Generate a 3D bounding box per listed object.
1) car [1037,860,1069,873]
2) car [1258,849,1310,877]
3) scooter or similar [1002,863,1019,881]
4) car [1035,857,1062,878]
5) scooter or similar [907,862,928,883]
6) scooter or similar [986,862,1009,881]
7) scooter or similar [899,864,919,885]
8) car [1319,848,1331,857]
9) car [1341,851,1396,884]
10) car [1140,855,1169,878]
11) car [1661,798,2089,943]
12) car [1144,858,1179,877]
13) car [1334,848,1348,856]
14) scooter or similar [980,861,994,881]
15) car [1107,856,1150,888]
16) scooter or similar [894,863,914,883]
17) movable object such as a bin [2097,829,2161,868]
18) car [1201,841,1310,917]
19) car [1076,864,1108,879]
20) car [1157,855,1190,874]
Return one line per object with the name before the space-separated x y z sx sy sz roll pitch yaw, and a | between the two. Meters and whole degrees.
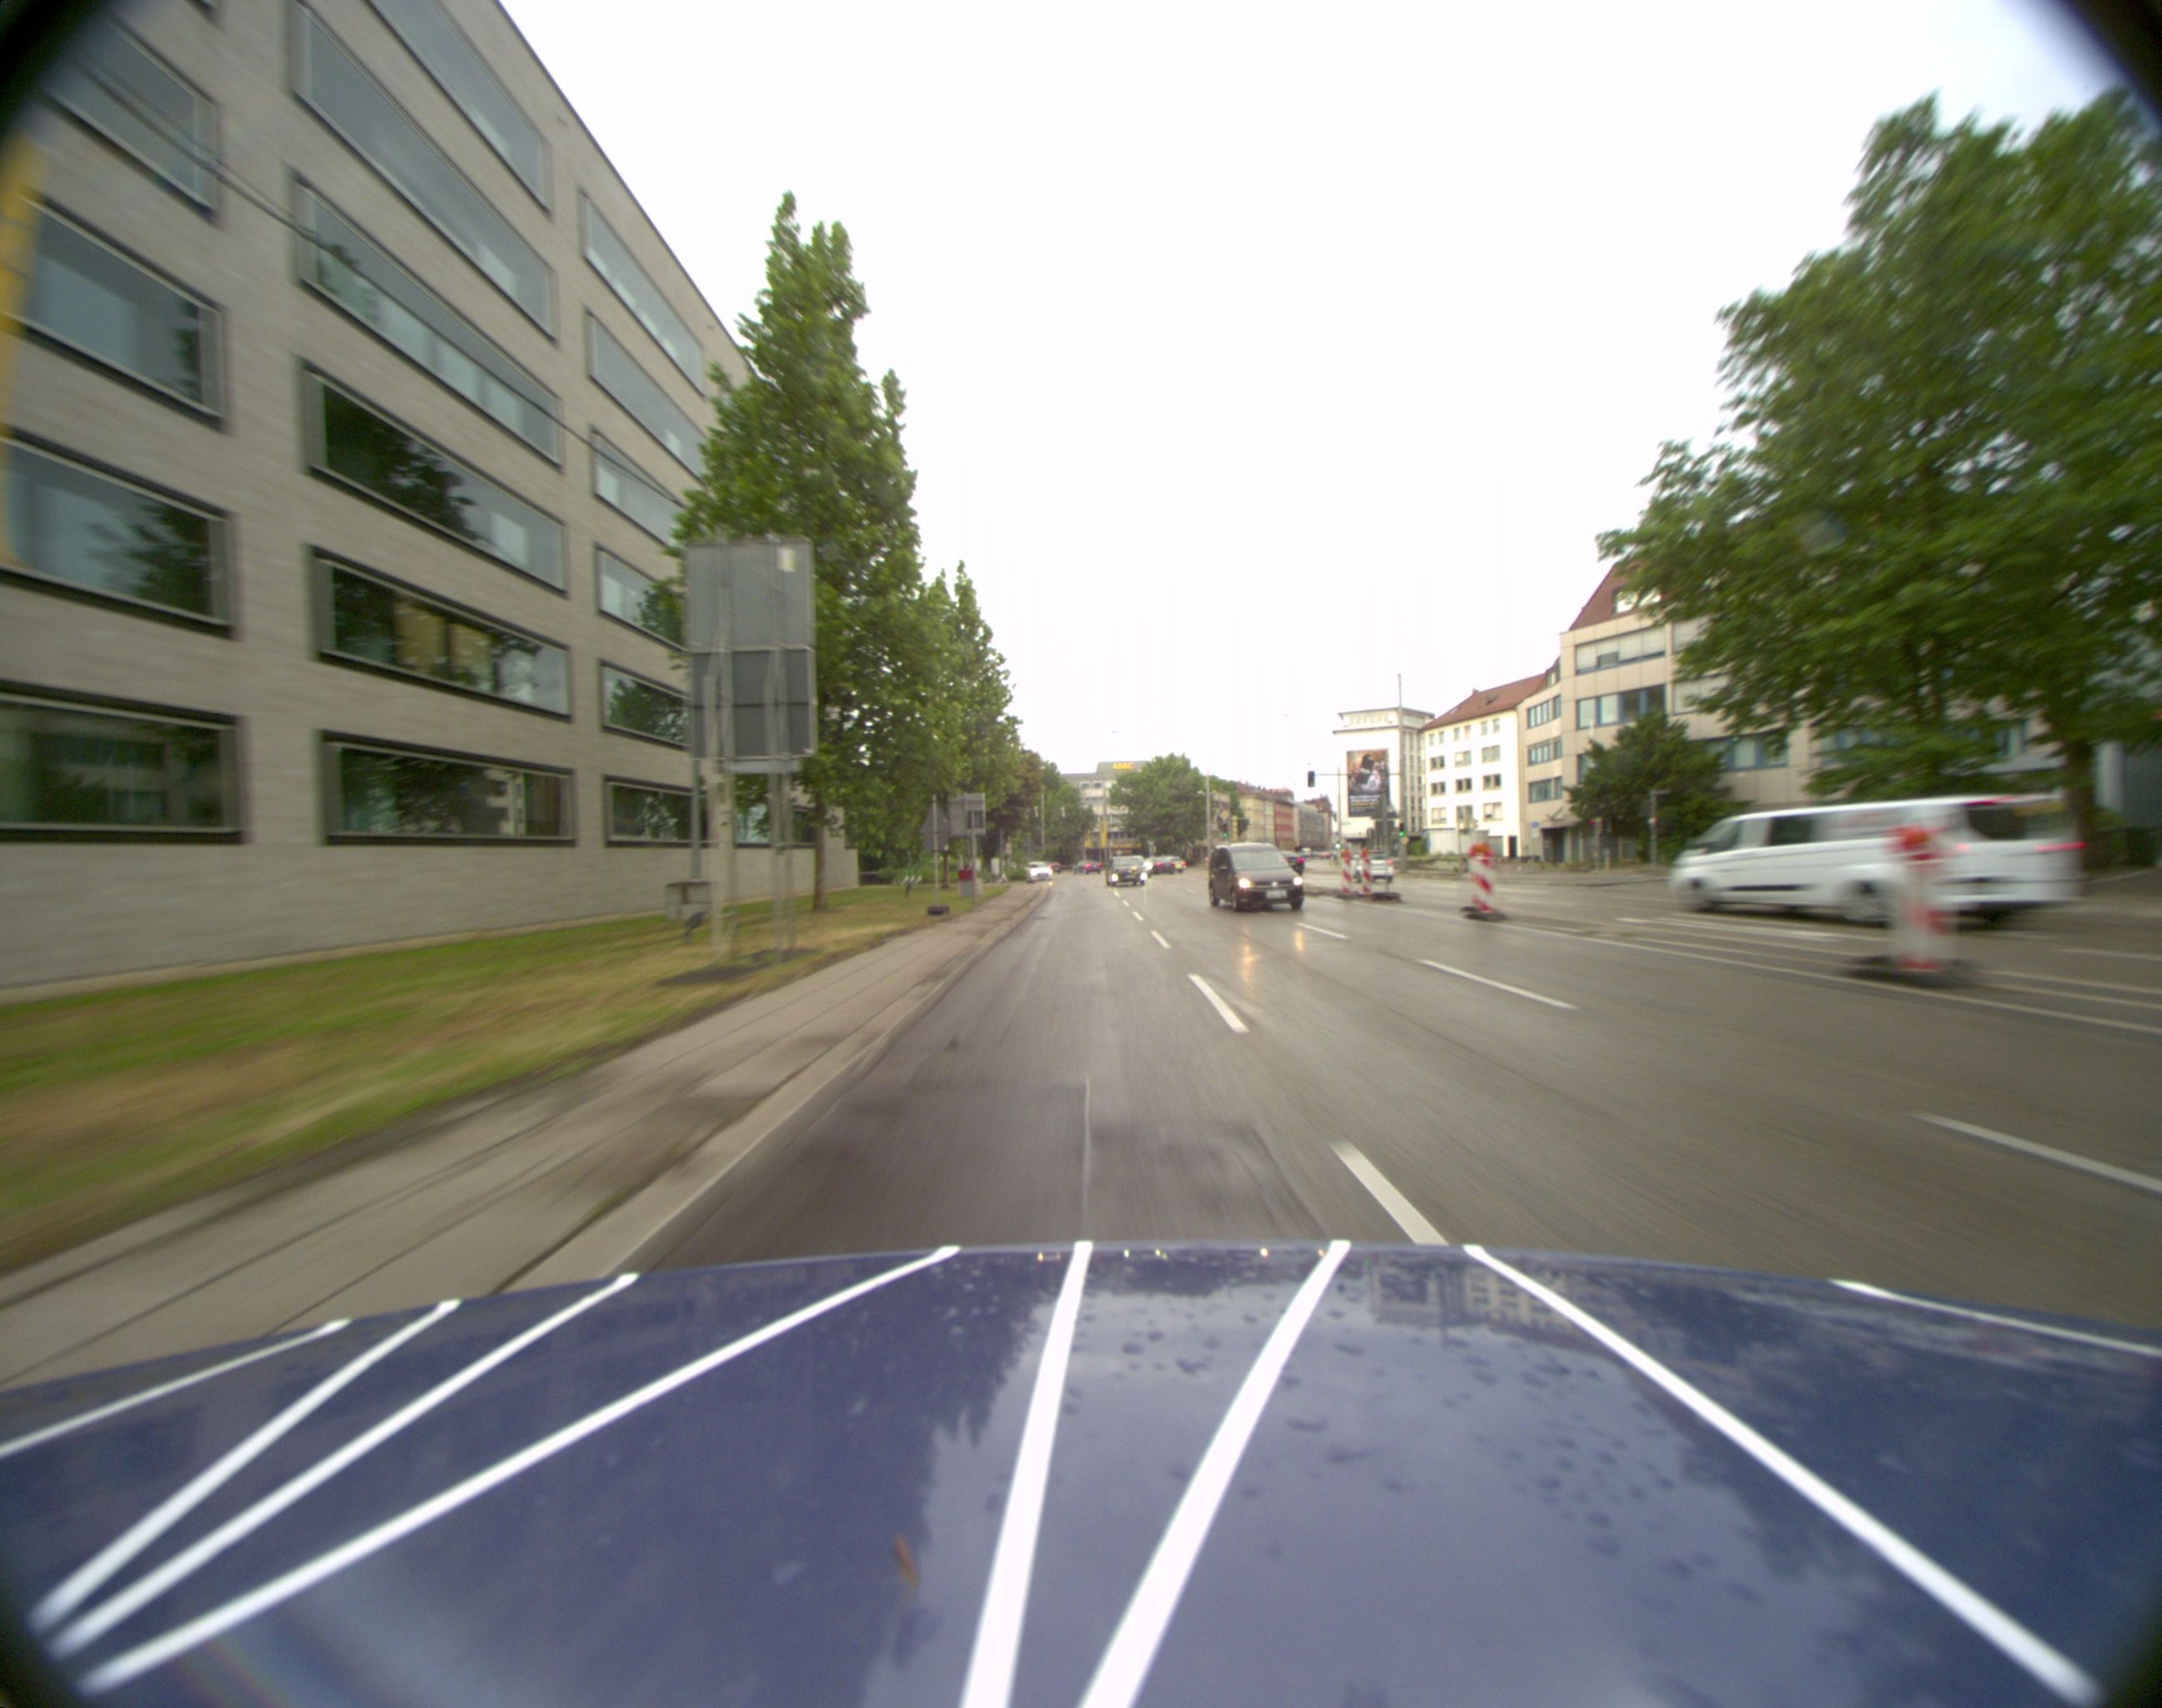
car | -3.414 1.489 92.014 1.827 1.503 4.221 -2 0 -38
car | 13.163 0.557 49.647 1.999 1.667 4.937 -1 0 -1
scooter or similar | -4.672 1.166 50.372 0.638 1.122 1.590 -2 1 -25
car | -2.578 1.076 60.621 1.847 1.566 4.000 -1 0 2
scooter or similar | -10.734 1.229 49.948 1.241 1.305 0.554 -1 1 -3
scooter or similar | -5.355 1.140 48.998 0.687 1.194 1.341 -1 1 38
scooter or similar | -11.418 1.355 50.463 1.241 1.305 0.472 -1 1 -3
car | 50.756 -0.260 157.951 1.995 1.832 4.447 -1 0 23
car | 13.729 0.632 36.447 1.559 1.475 2.950 -1 -1 2
car | 5.300 0.865 55.146 1.847 1.566 4.000 -1 0 2
car | 13.176 0.221 13.319 1.998 1.979 5.289 -1 0 0
car | 6.668 1.099 63.288 1.999 1.430 4.935 -1 0 -5
car | 48.934 -0.386 142.872 1.871 1.568 4.007 -1 0 27
scooter or similar | -6.021 1.074 48.652 0.563 1.194 1.326 -1 1 7
car | 2.564 0.949 41.984 1.931 1.532 3.998 -2 1 -3
scooter or similar | -11.859 1.261 50.979 1.241 1.305 0.472 -1 1 -3
movable object such as a bin | 26.824 -0.140 19.442 0.872 0.990 0.790 -1 1 45
car | 4.632 0.624 20.802 1.795 1.789 4.124 -2 0 -3
car | 1.090 1.798 77.820 1.774 1.408 4.075 -2 0 -22
car | 8.391 0.932 69.248 1.772 1.672 4.586 -1 0 -10
